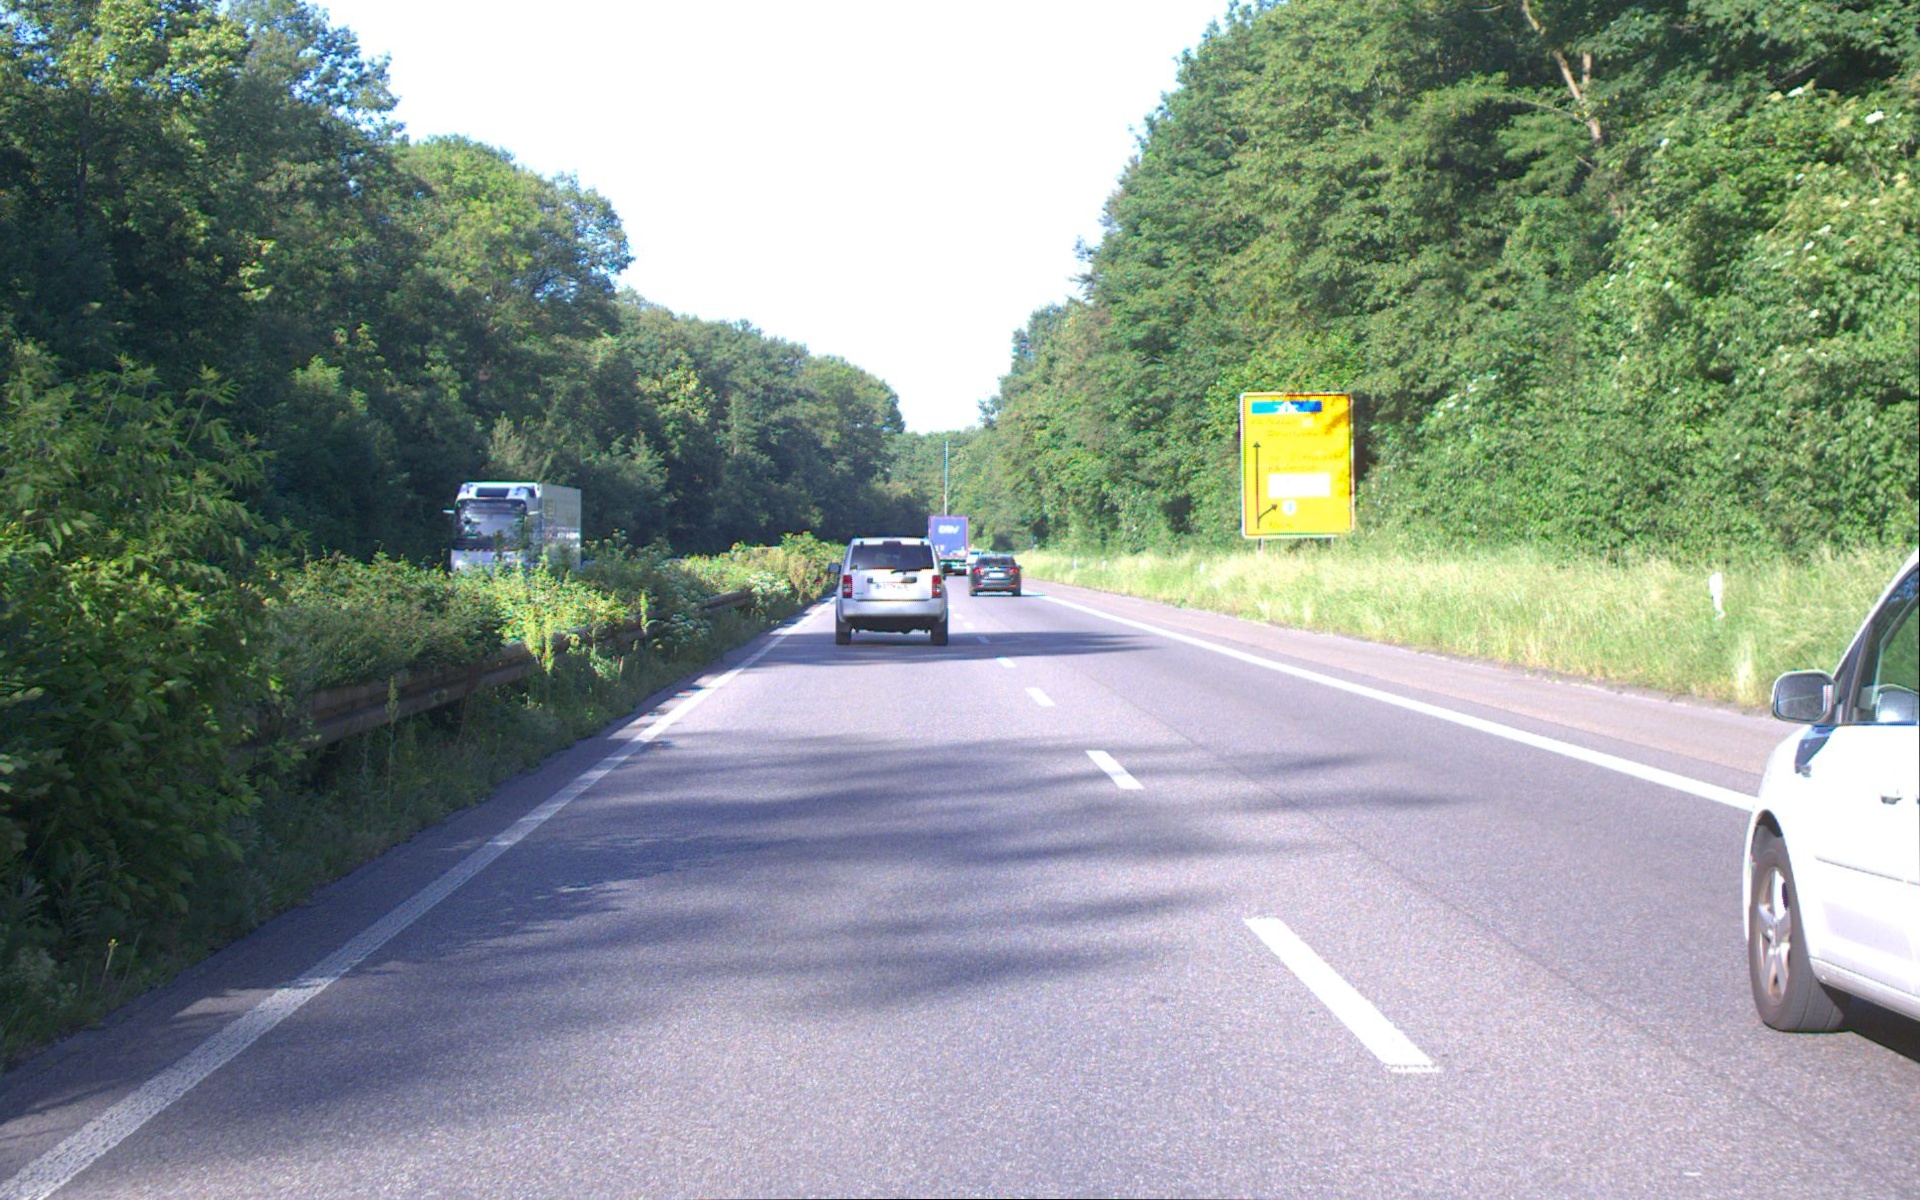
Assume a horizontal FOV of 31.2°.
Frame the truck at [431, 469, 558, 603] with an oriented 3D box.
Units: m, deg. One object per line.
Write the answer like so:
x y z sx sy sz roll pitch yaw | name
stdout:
-14.433 -1.986 107.062 3.228 3.999 5.677 1 1 -1 | truck

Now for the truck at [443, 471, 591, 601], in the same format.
-14.556 -2.104 114.095 3.243 3.999 14.452 1 1 -1 | truck

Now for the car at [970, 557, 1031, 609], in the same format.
1.420 -0.594 121.743 1.951 1.776 4.588 1 0 -1 | car

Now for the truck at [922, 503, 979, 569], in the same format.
-0.654 -4.317 233.388 3.734 4.328 9.305 1 0 -1 | truck

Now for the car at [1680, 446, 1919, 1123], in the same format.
3.460 0.500 9.625 1.799 1.807 4.588 1 0 -1 | car

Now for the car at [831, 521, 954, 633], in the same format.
-1.143 -0.385 57.511 1.951 1.776 4.588 1 0 -1 | car
